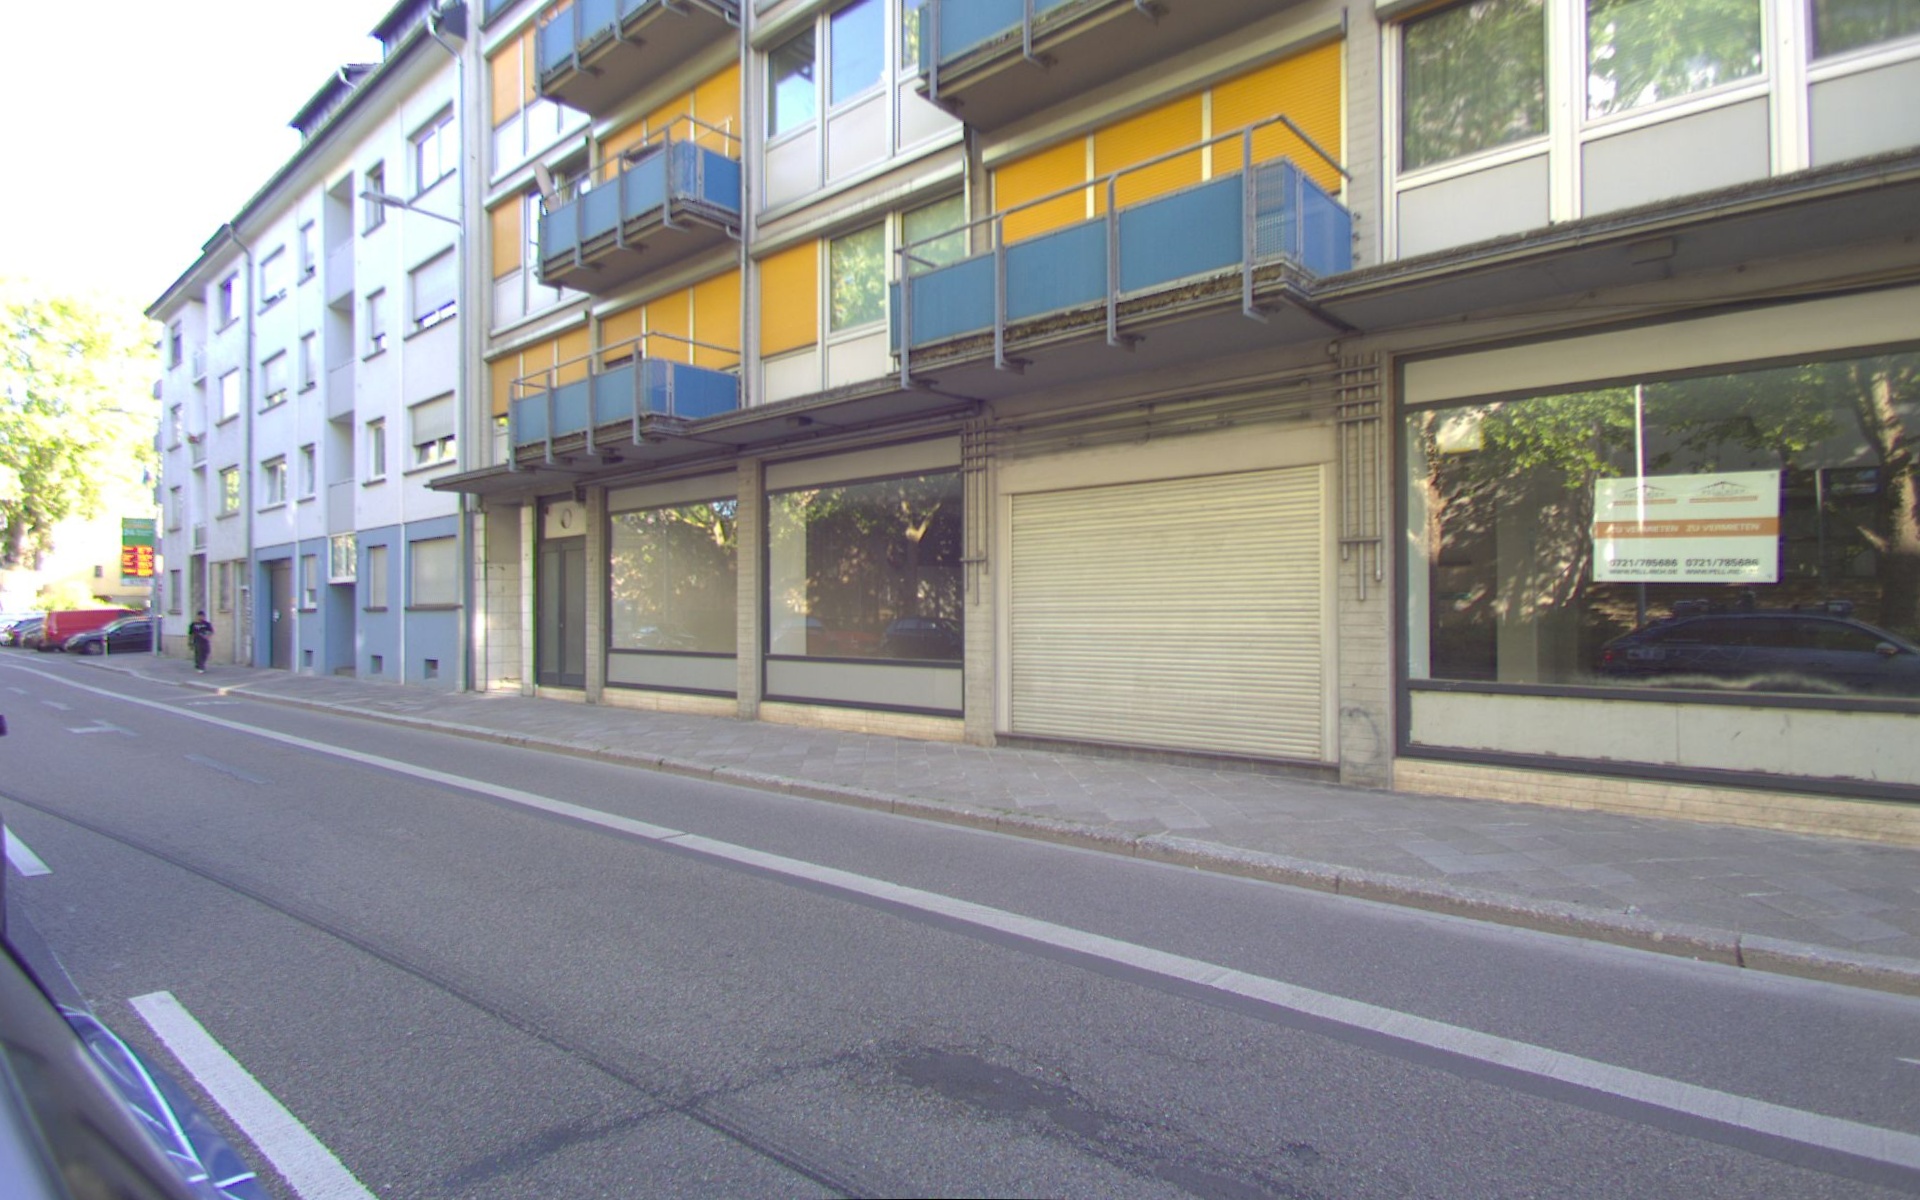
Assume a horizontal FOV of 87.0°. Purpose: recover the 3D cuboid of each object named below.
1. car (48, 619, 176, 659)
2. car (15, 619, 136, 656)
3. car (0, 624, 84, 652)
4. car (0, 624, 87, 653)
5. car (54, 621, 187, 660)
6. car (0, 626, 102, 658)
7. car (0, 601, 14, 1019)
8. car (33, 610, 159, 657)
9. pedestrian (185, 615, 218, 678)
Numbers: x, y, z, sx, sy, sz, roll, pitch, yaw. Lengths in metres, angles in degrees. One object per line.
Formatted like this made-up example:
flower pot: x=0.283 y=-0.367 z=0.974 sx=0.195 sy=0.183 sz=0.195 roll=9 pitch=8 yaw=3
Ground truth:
car: x=-38.210 y=1.719 z=45.664 sx=1.652 sy=1.480 sz=4.201 roll=-1 pitch=1 yaw=41
car: x=-42.779 y=1.777 z=49.021 sx=1.652 sy=1.480 sz=4.201 roll=-1 pitch=1 yaw=41
car: x=-55.902 y=2.284 z=61.203 sx=1.652 sy=1.480 sz=4.201 roll=-1 pitch=1 yaw=41
car: x=-54.520 y=2.264 z=59.796 sx=1.652 sy=1.480 sz=4.201 roll=-1 pitch=1 yaw=41
car: x=-36.516 y=1.732 z=44.101 sx=1.652 sy=1.411 sz=4.201 roll=-1 pitch=1 yaw=41
car: x=-50.487 y=2.278 z=56.111 sx=1.652 sy=1.480 sz=4.201 roll=-1 pitch=1 yaw=41
car: x=-5.662 y=0.793 z=4.415 sx=4.300 sy=1.510 sz=1.826 roll=-1 pitch=-1 yaw=41
car: x=-40.591 y=1.546 z=47.626 sx=1.817 sy=1.933 sz=4.202 roll=-1 pitch=1 yaw=40
pedestrian: x=-21.228 y=1.290 z=28.330 sx=0.655 sy=1.708 sz=0.604 roll=-2 pitch=-1 yaw=41
